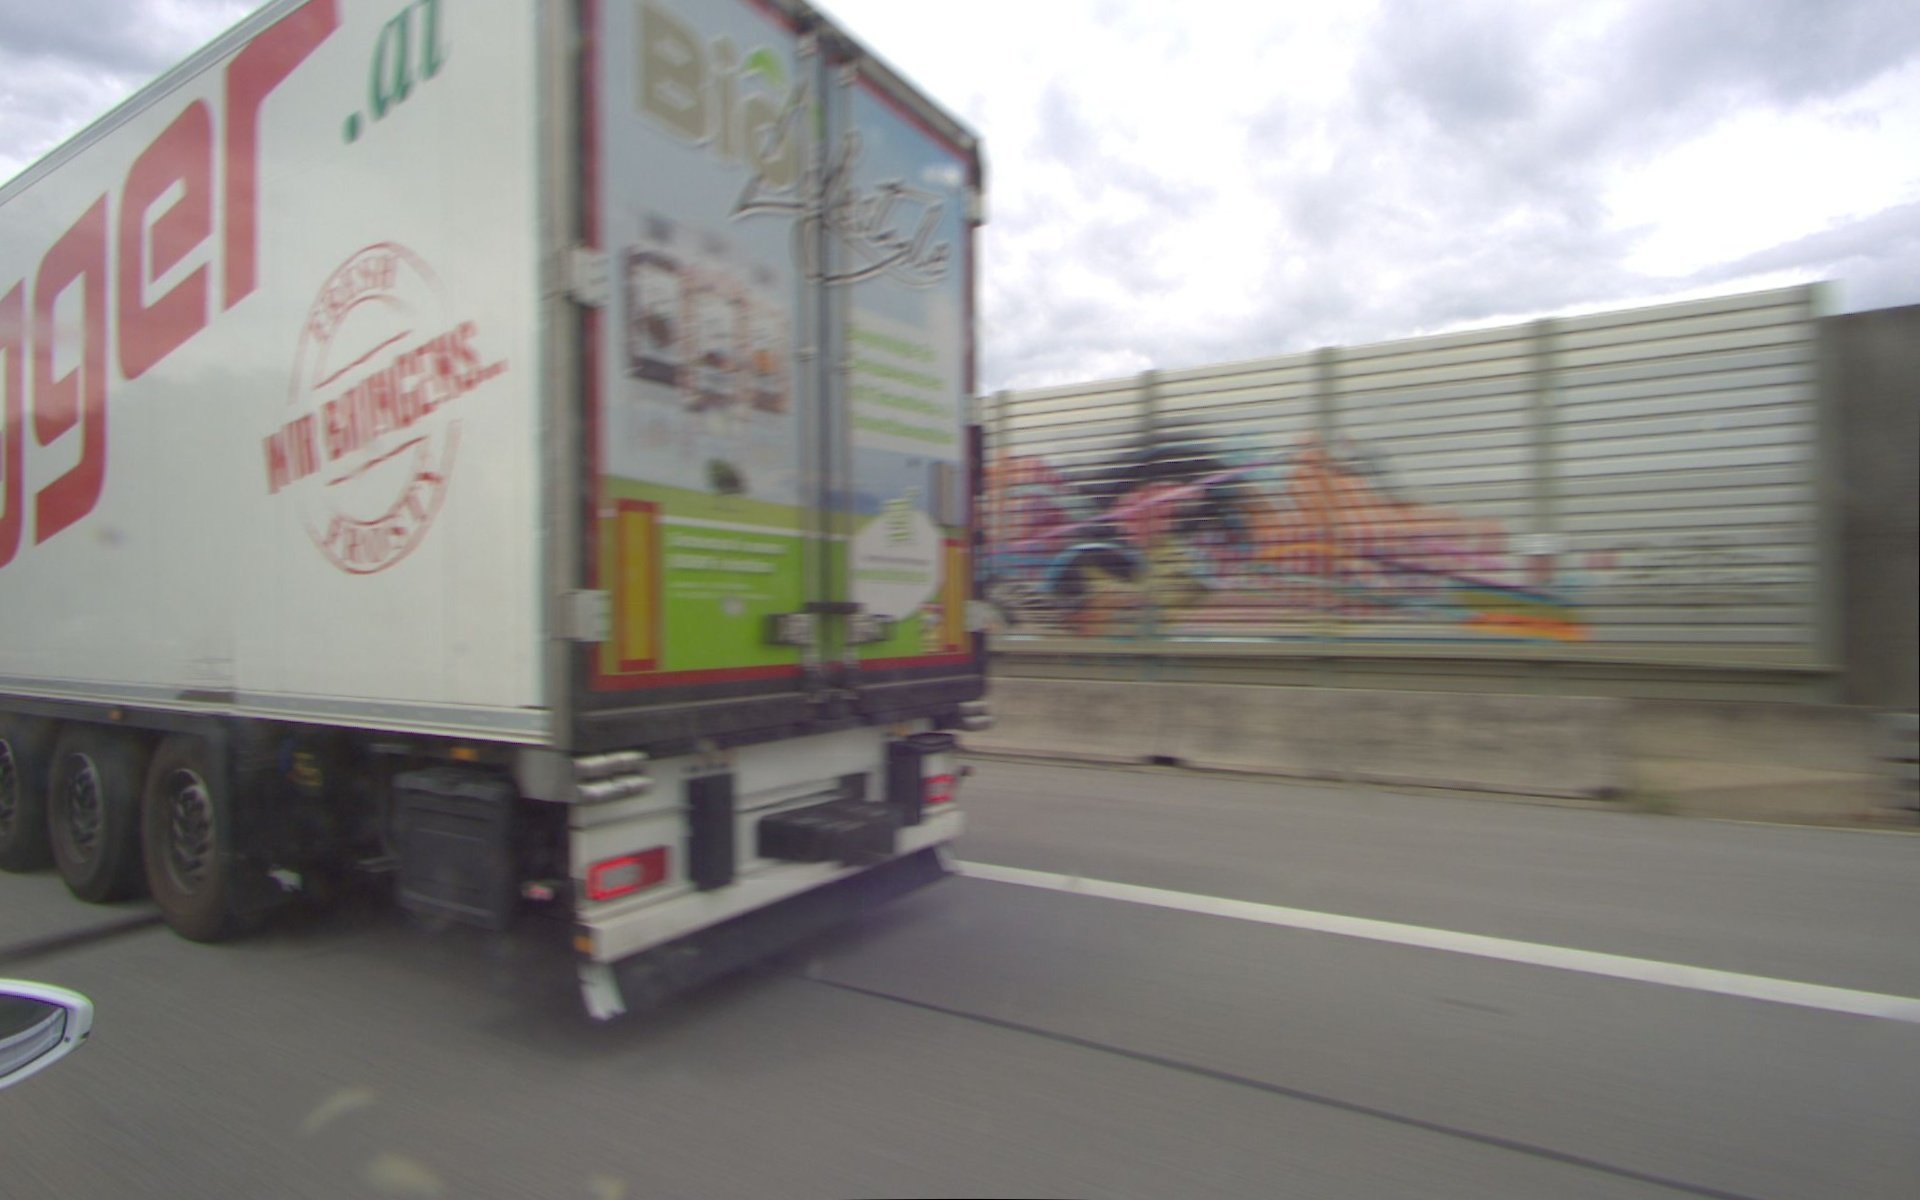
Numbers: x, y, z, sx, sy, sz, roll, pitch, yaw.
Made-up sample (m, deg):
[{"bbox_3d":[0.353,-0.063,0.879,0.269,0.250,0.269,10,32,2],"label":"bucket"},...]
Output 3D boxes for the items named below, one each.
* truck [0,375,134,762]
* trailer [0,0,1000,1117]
[{"bbox_3d":[-12.439,-0.298,11.638,5.595,4.011,2.751,-1,-1,32],"label":"truck"},{"bbox_3d":[-6.394,-0.472,7.845,13.900,4.229,2.788,-1,-1,32],"label":"trailer"}]
